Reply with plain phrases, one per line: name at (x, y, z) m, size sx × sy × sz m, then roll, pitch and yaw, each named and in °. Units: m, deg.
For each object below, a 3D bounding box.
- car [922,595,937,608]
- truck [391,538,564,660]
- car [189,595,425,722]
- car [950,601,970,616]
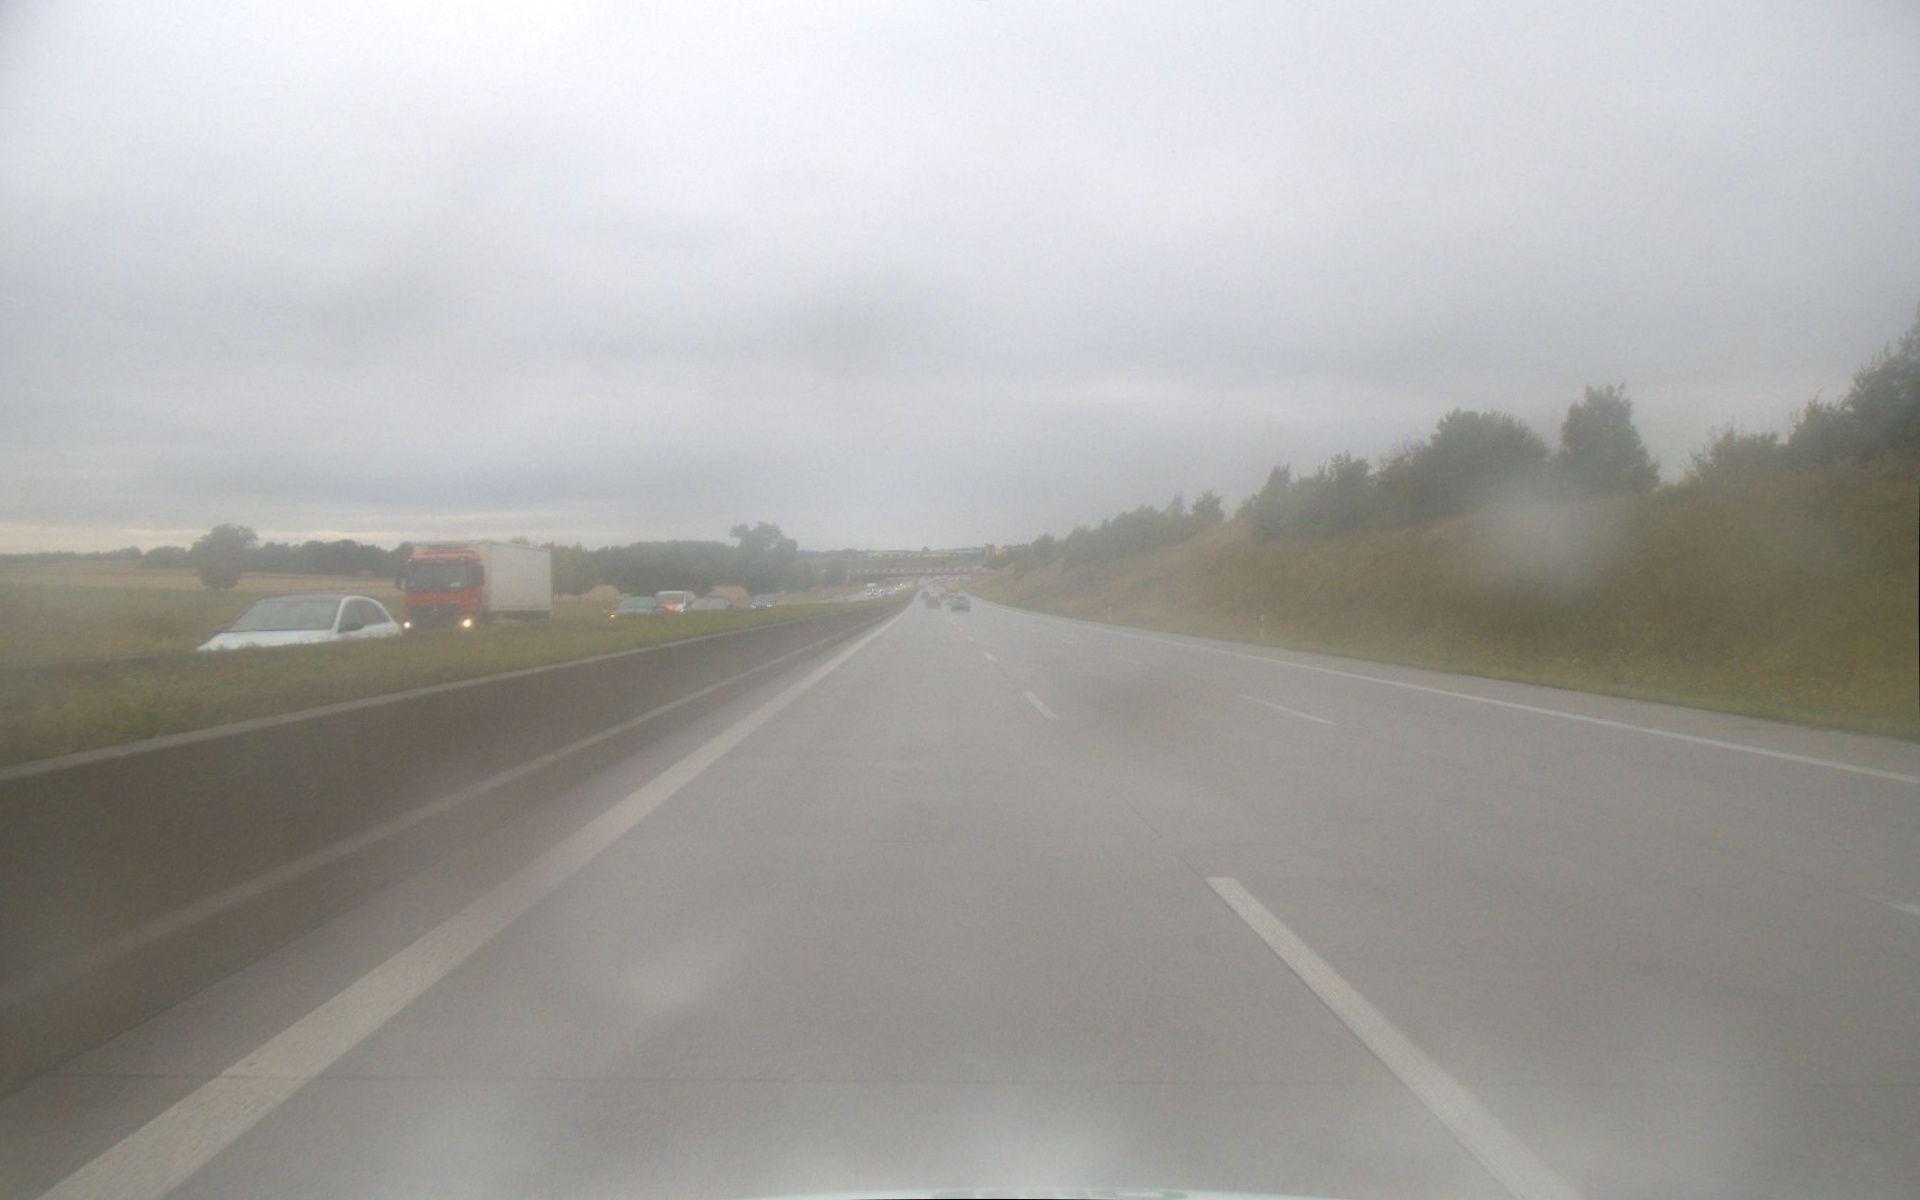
car at (-3.419, 0.182, 187.175) m, size 1.694 × 1.354 × 4.430 m, roll 1°, pitch 2°, yaw -1°
truck at (-17.110, -0.158, 59.819) m, size 2.844 × 3.923 × 12.448 m, roll 0°, pitch 1°, yaw -1°
car at (-8.951, 0.735, 23.078) m, size 1.618 × 1.569 × 4.453 m, roll 0°, pitch 0°, yaw -2°
car at (-0.009, 0.848, 165.894) m, size 1.810 × 1.354 × 4.428 m, roll 1°, pitch 2°, yaw -3°
